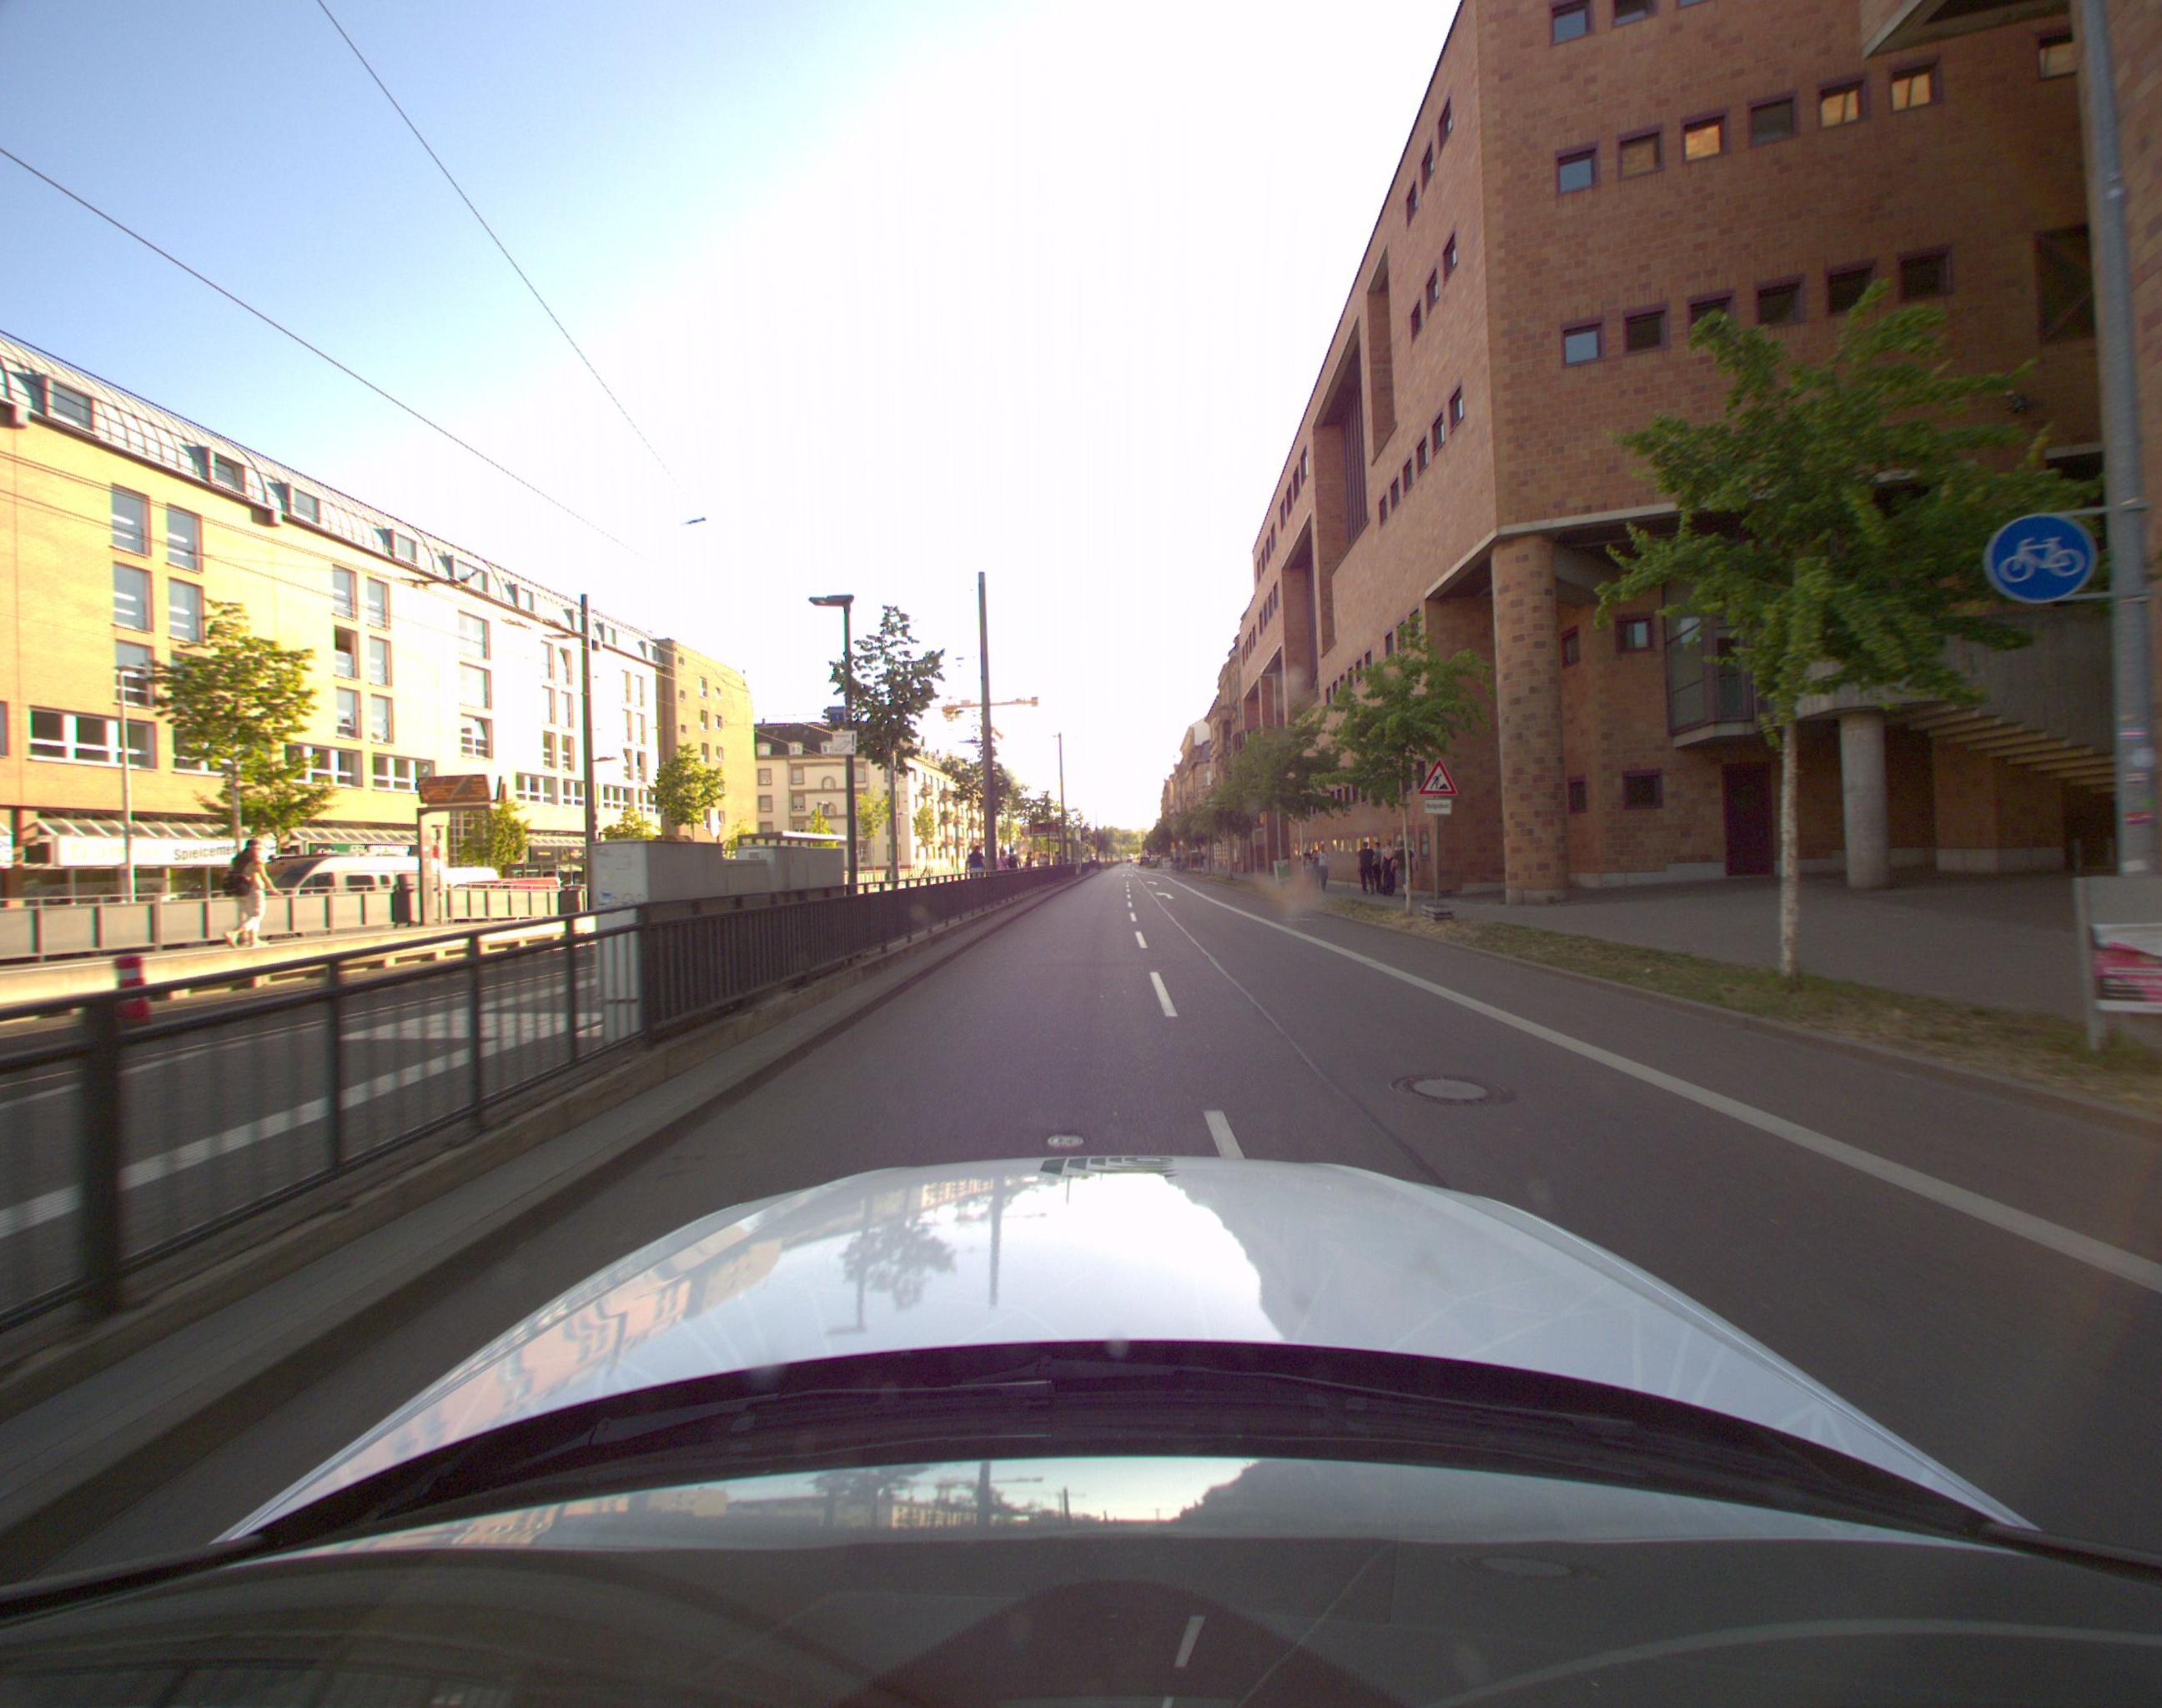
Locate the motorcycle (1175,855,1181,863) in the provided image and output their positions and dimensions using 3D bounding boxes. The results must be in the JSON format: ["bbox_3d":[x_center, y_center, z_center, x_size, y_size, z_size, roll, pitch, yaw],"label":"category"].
[{"bbox_3d":[17.354,0.923,145.567,0.791,1.308,2.854,-4,0,3],"label":"motorcycle"}]

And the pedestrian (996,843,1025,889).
[{"bbox_3d":[-2.639,0.455,30.706,0.884,1.672,1.096,-2,-1,1],"label":"pedestrian"}]

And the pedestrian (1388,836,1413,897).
[{"bbox_3d":[9.465,0.369,24.147,0.532,1.756,0.698,-2,-1,13],"label":"pedestrian"}]

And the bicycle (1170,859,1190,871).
[{"bbox_3d":[10.144,1.162,83.444,1.821,1.064,0.663,-5,0,-2],"label":"bicycle"}]

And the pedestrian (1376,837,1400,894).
[{"bbox_3d":[9.558,0.354,25.375,0.532,1.756,0.698,-2,-1,13],"label":"pedestrian"}]

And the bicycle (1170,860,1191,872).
[{"bbox_3d":[9.854,1.201,80.695,1.821,1.064,0.663,-5,0,-2],"label":"bicycle"}]

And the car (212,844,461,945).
[{"bbox_3d":[-19.922,1.000,22.188,2.037,2.358,4.923,-2,0,2],"label":"car"}]

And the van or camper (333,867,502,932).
[{"bbox_3d":[-27.370,1.803,33.954,1.984,2.169,5.624,-2,1,5],"label":"van or camper"}]

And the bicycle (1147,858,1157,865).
[{"bbox_3d":[12.435,1.333,142.843,1.573,1.048,0.488,-4,0,-5],"label":"bicycle"}]

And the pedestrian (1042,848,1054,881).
[{"bbox_3d":[-1.754,0.572,43.426,0.503,1.732,0.652,-2,-1,3],"label":"pedestrian"}]

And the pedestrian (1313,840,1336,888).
[{"bbox_3d":[9.024,0.370,30.173,0.569,1.713,0.641,-2,-1,-2],"label":"pedestrian"}]

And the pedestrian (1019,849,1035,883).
[{"bbox_3d":[-2.838,0.624,43.164,0.716,1.732,0.652,-2,-1,2],"label":"pedestrian"}]

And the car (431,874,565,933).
[{"bbox_3d":[-22.209,1.829,31.280,1.879,1.866,4.317,-3,0,1],"label":"car"}]

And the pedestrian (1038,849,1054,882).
[{"bbox_3d":[-1.702,0.549,39.691,0.670,1.562,0.907,-2,-1,3],"label":"pedestrian"}]

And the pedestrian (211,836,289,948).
[{"bbox_3d":[-12.923,0.583,12.674,0.671,1.684,0.579,-3,-1,18],"label":"pedestrian"}]

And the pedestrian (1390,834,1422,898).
[{"bbox_3d":[9.264,0.338,23.222,0.727,1.756,0.698,-3,-1,16],"label":"pedestrian"}]

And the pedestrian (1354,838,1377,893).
[{"bbox_3d":[9.268,0.366,26.551,0.534,1.756,0.465,-2,-1,2],"label":"pedestrian"}]

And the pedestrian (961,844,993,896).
[{"bbox_3d":[-3.431,0.521,27.010,0.884,1.672,0.672,-2,-1,1],"label":"pedestrian"}]

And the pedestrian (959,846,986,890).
[{"bbox_3d":[-3.713,0.479,27.953,0.679,1.483,0.830,-2,-1,5],"label":"pedestrian"}]

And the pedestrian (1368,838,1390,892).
[{"bbox_3d":[9.903,0.372,27.072,0.534,1.756,0.422,-2,-1,2],"label":"pedestrian"}]

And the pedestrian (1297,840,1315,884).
[{"bbox_3d":[9.125,0.340,33.001,0.535,1.756,0.421,-2,-1,-3],"label":"pedestrian"}]

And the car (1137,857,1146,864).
[{"bbox_3d":[13.508,1.411,180.775,1.841,1.457,4.162,-3,0,5],"label":"car"}]

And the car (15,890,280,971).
[{"bbox_3d":[-22.943,1.803,20.301,1.879,1.532,4.001,-3,0,1],"label":"car"}]

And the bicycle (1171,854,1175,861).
[{"bbox_3d":[19.569,0.749,173.699,0.658,1.402,2.354,-3,0,3],"label":"bicycle"}]

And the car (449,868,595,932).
[{"bbox_3d":[-19.422,1.544,28.572,1.878,1.866,4.320,-3,0,3],"label":"car"}]

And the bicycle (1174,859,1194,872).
[{"bbox_3d":[10.388,1.164,82.045,1.821,1.064,0.663,-5,0,-2],"label":"bicycle"}]

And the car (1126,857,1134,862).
[{"bbox_3d":[15.256,1.814,252.446,1.786,1.464,4.011,-3,-1,10],"label":"car"}]

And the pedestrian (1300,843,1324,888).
[{"bbox_3d":[8.382,0.404,29.598,0.516,1.605,0.702,-2,-1,-10],"label":"pedestrian"}]

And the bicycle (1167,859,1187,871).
[{"bbox_3d":[10.010,1.155,84.926,1.821,1.064,0.663,-5,0,-2],"label":"bicycle"}]

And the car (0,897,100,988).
[{"bbox_3d":[-20.387,1.684,14.073,1.879,1.532,4.001,-3,0,1],"label":"car"}]

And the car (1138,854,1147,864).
[{"bbox_3d":[12.677,1.101,167.554,1.876,1.937,4.479,-2,1,5],"label":"car"}]

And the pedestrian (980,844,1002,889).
[{"bbox_3d":[-3.412,0.484,30.958,0.654,1.672,0.672,-2,-1,1],"label":"pedestrian"}]

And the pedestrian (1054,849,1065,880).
[{"bbox_3d":[-1.192,0.596,45.472,0.503,1.679,0.652,-2,-1,3],"label":"pedestrian"}]

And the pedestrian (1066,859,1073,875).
[{"bbox_3d":[-0.833,0.939,58.499,0.406,1.190,0.428,-2,-1,-9],"label":"pedestrian"}]

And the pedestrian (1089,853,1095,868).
[{"bbox_3d":[1.220,0.780,91.909,0.652,1.643,0.868,-2,-2,3],"label":"pedestrian"}]

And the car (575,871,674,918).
[{"bbox_3d":[-21.674,1.872,38.855,1.876,1.866,4.323,-3,0,6],"label":"car"}]
